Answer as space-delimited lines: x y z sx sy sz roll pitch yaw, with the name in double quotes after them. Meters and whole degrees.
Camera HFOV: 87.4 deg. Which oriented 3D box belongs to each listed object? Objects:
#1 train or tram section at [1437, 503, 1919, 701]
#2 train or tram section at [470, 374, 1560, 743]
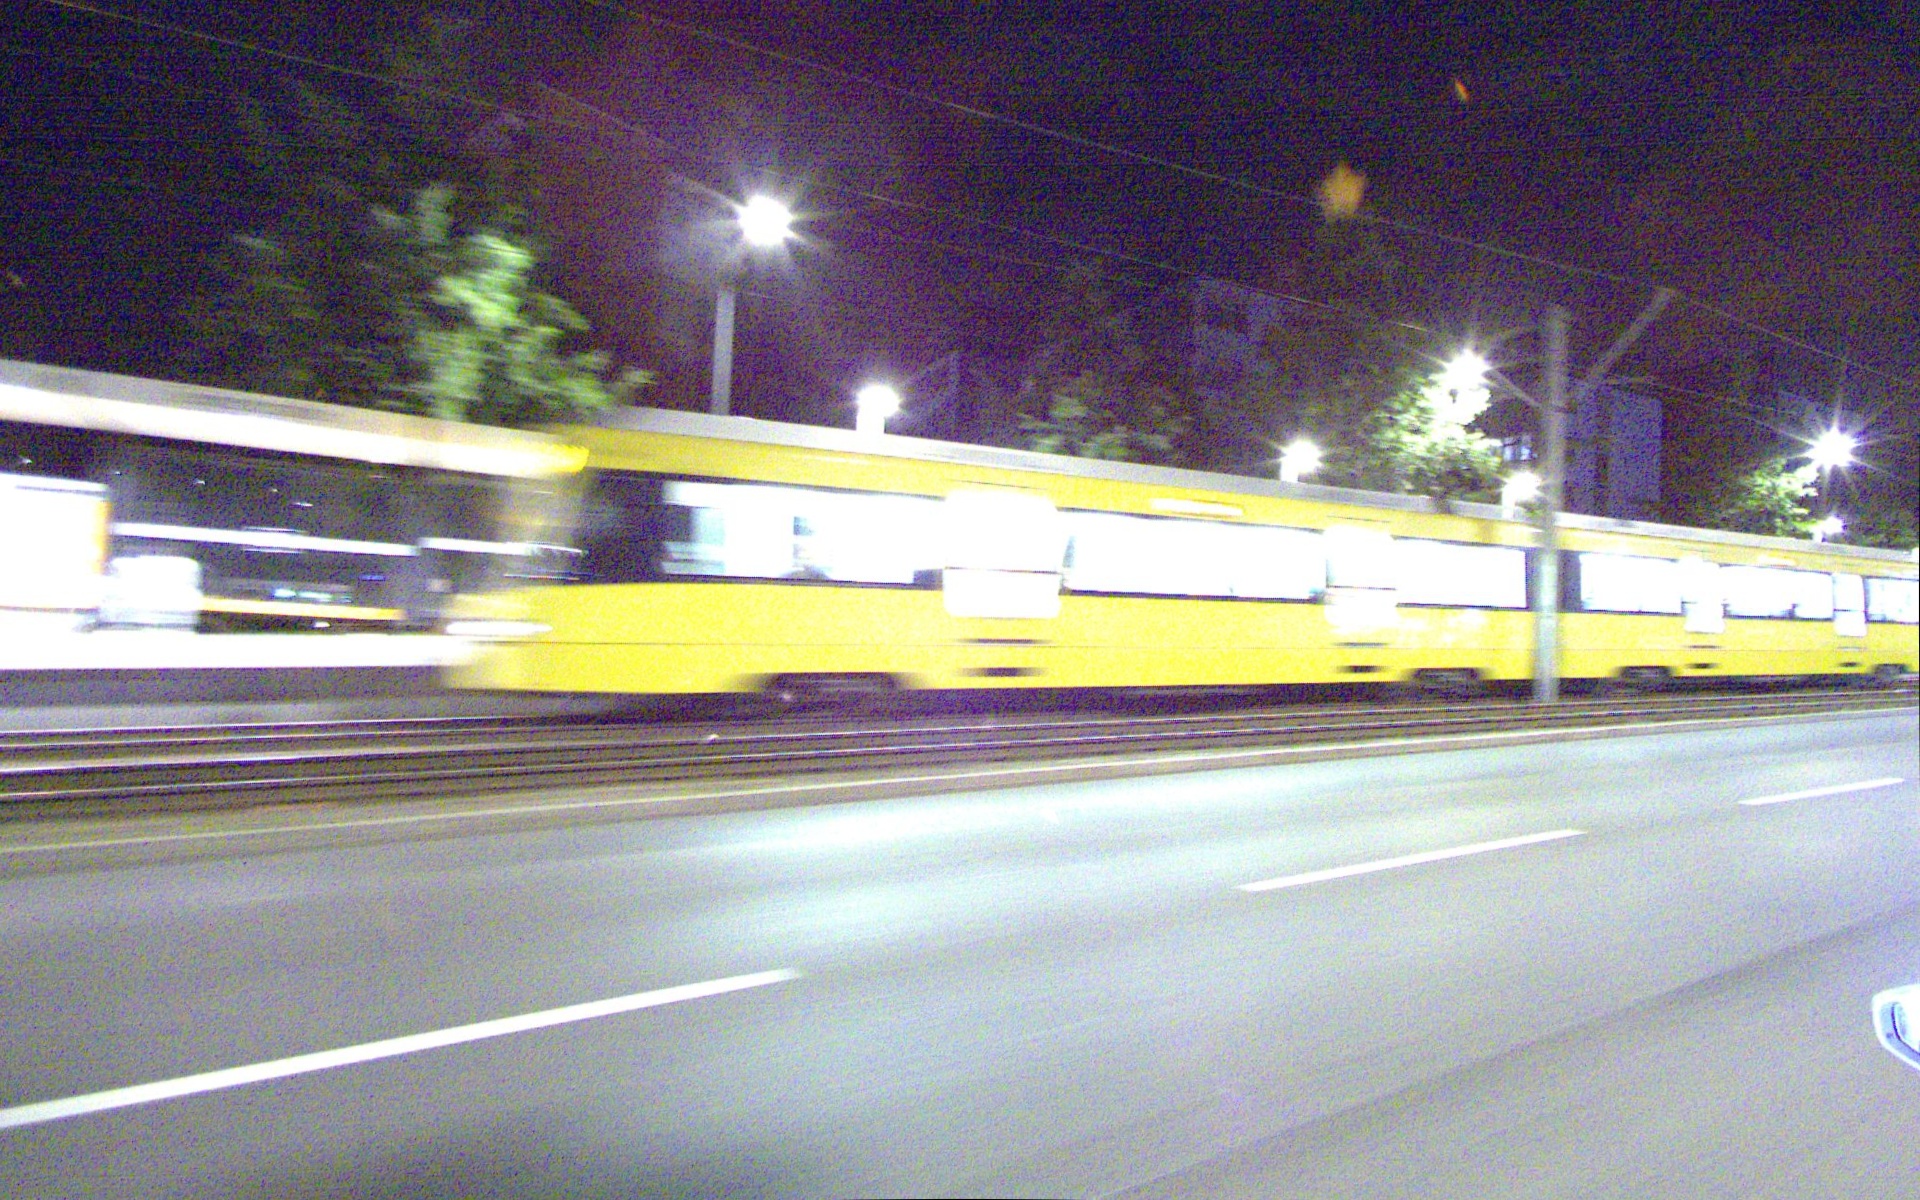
19.265 0.278 25.397 18.440 3.878 2.747 2 -1 -29 "train or tram section"
2.723 -0.191 16.366 19.123 3.897 2.727 2 -1 -29 "train or tram section"
